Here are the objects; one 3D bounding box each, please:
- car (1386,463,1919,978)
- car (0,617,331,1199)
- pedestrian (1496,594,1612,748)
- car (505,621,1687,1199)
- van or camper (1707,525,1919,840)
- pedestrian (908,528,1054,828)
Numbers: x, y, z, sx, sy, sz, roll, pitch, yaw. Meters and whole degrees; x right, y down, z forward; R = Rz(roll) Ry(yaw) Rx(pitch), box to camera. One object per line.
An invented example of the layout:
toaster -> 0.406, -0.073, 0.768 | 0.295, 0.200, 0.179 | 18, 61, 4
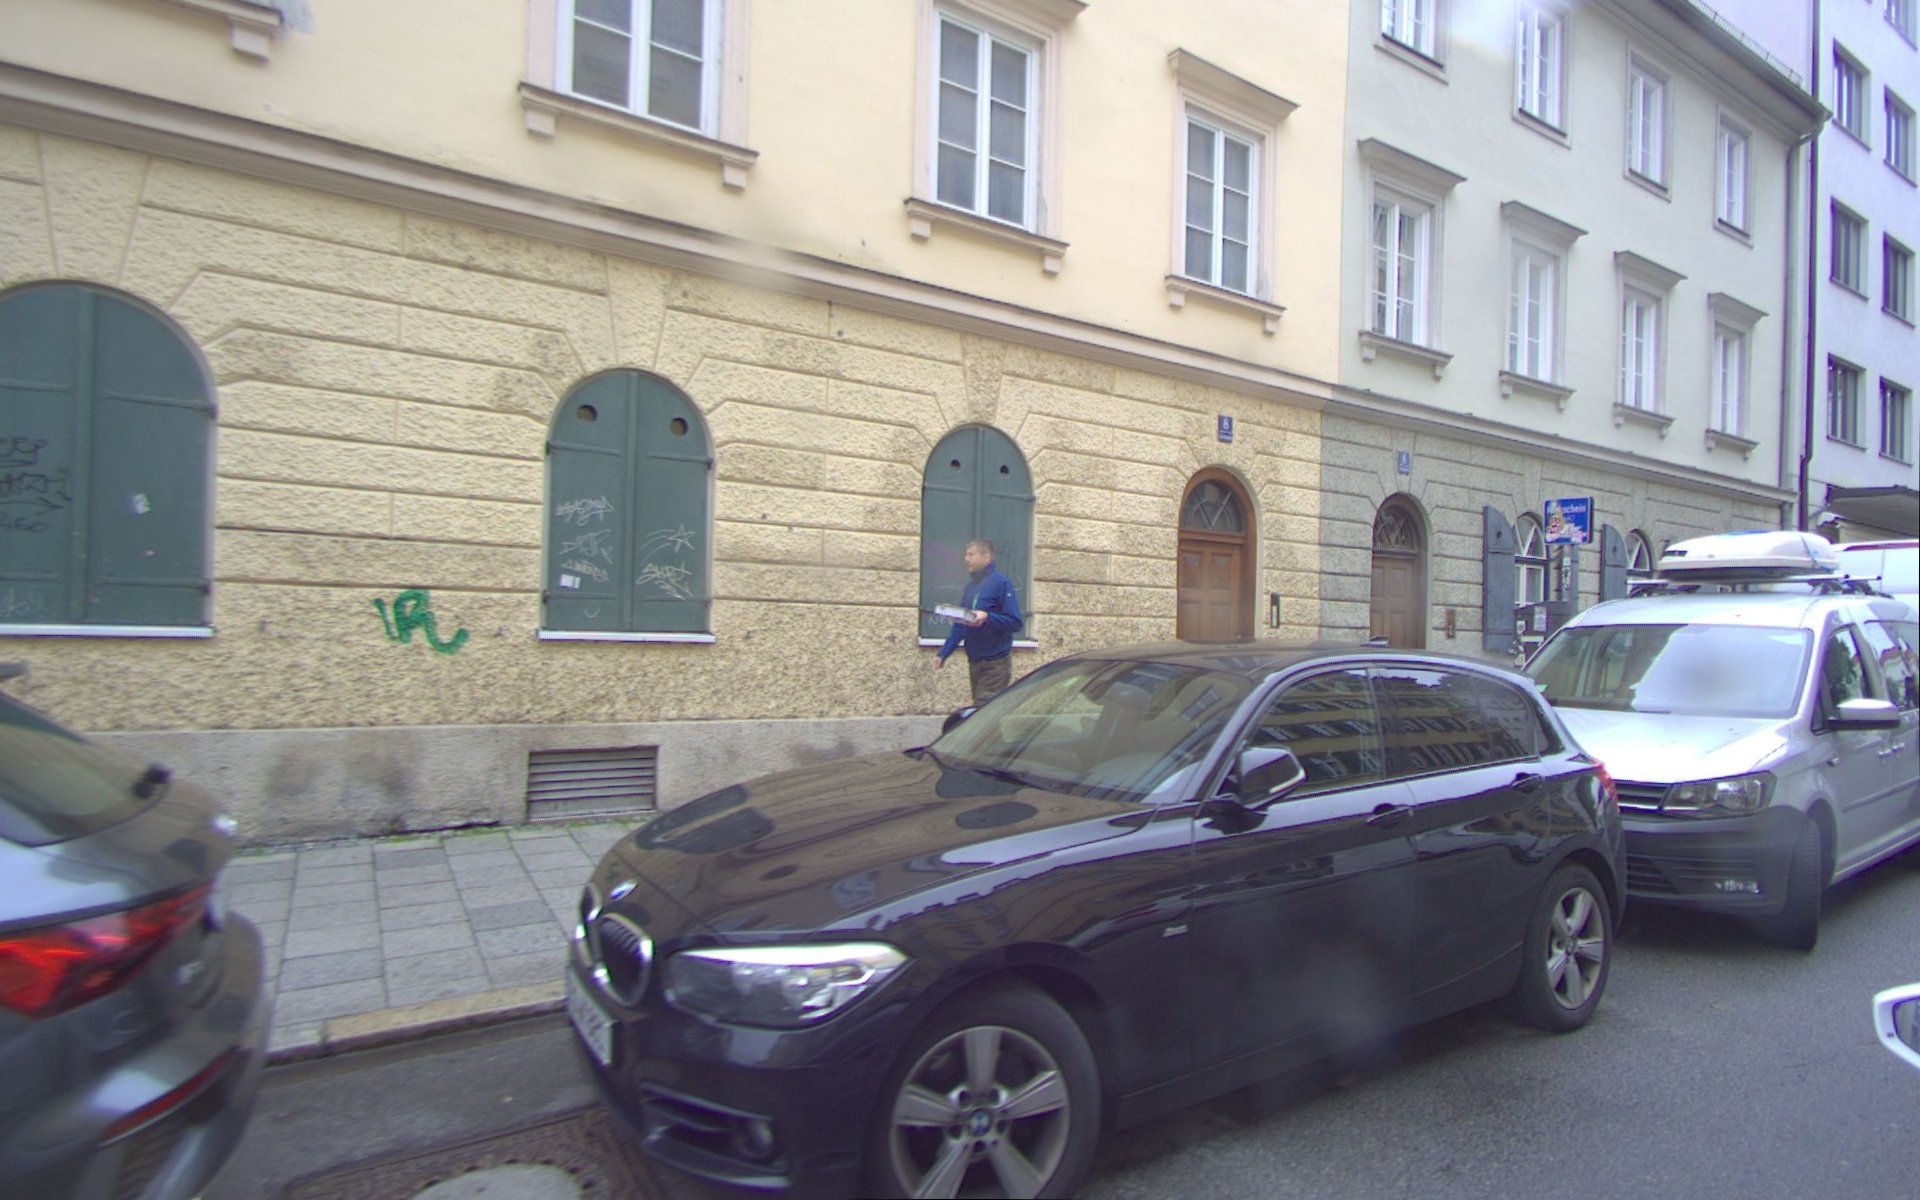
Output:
car -> 4.837, 0.576, 6.478 | 4.520, 2.230, 1.843 | 2, -1, -38
car -> -3.393, 0.728, 1.355 | 4.227, 1.420, 1.845 | 2, -1, -35
pedestrian -> 7.055, 0.813, 11.945 | 1.009, 1.734, 0.801 | 1, -1, -30
car -> 0.748, 0.843, 3.762 | 4.225, 1.420, 1.846 | 2, -1, -34
van or camper -> 9.241, 0.686, 9.245 | 5.417, 2.342, 1.983 | 2, -2, -32
pedestrian -> 0.144, 0.541, 7.360 | 0.741, 2.040, 0.802 | 1, -1, -30
